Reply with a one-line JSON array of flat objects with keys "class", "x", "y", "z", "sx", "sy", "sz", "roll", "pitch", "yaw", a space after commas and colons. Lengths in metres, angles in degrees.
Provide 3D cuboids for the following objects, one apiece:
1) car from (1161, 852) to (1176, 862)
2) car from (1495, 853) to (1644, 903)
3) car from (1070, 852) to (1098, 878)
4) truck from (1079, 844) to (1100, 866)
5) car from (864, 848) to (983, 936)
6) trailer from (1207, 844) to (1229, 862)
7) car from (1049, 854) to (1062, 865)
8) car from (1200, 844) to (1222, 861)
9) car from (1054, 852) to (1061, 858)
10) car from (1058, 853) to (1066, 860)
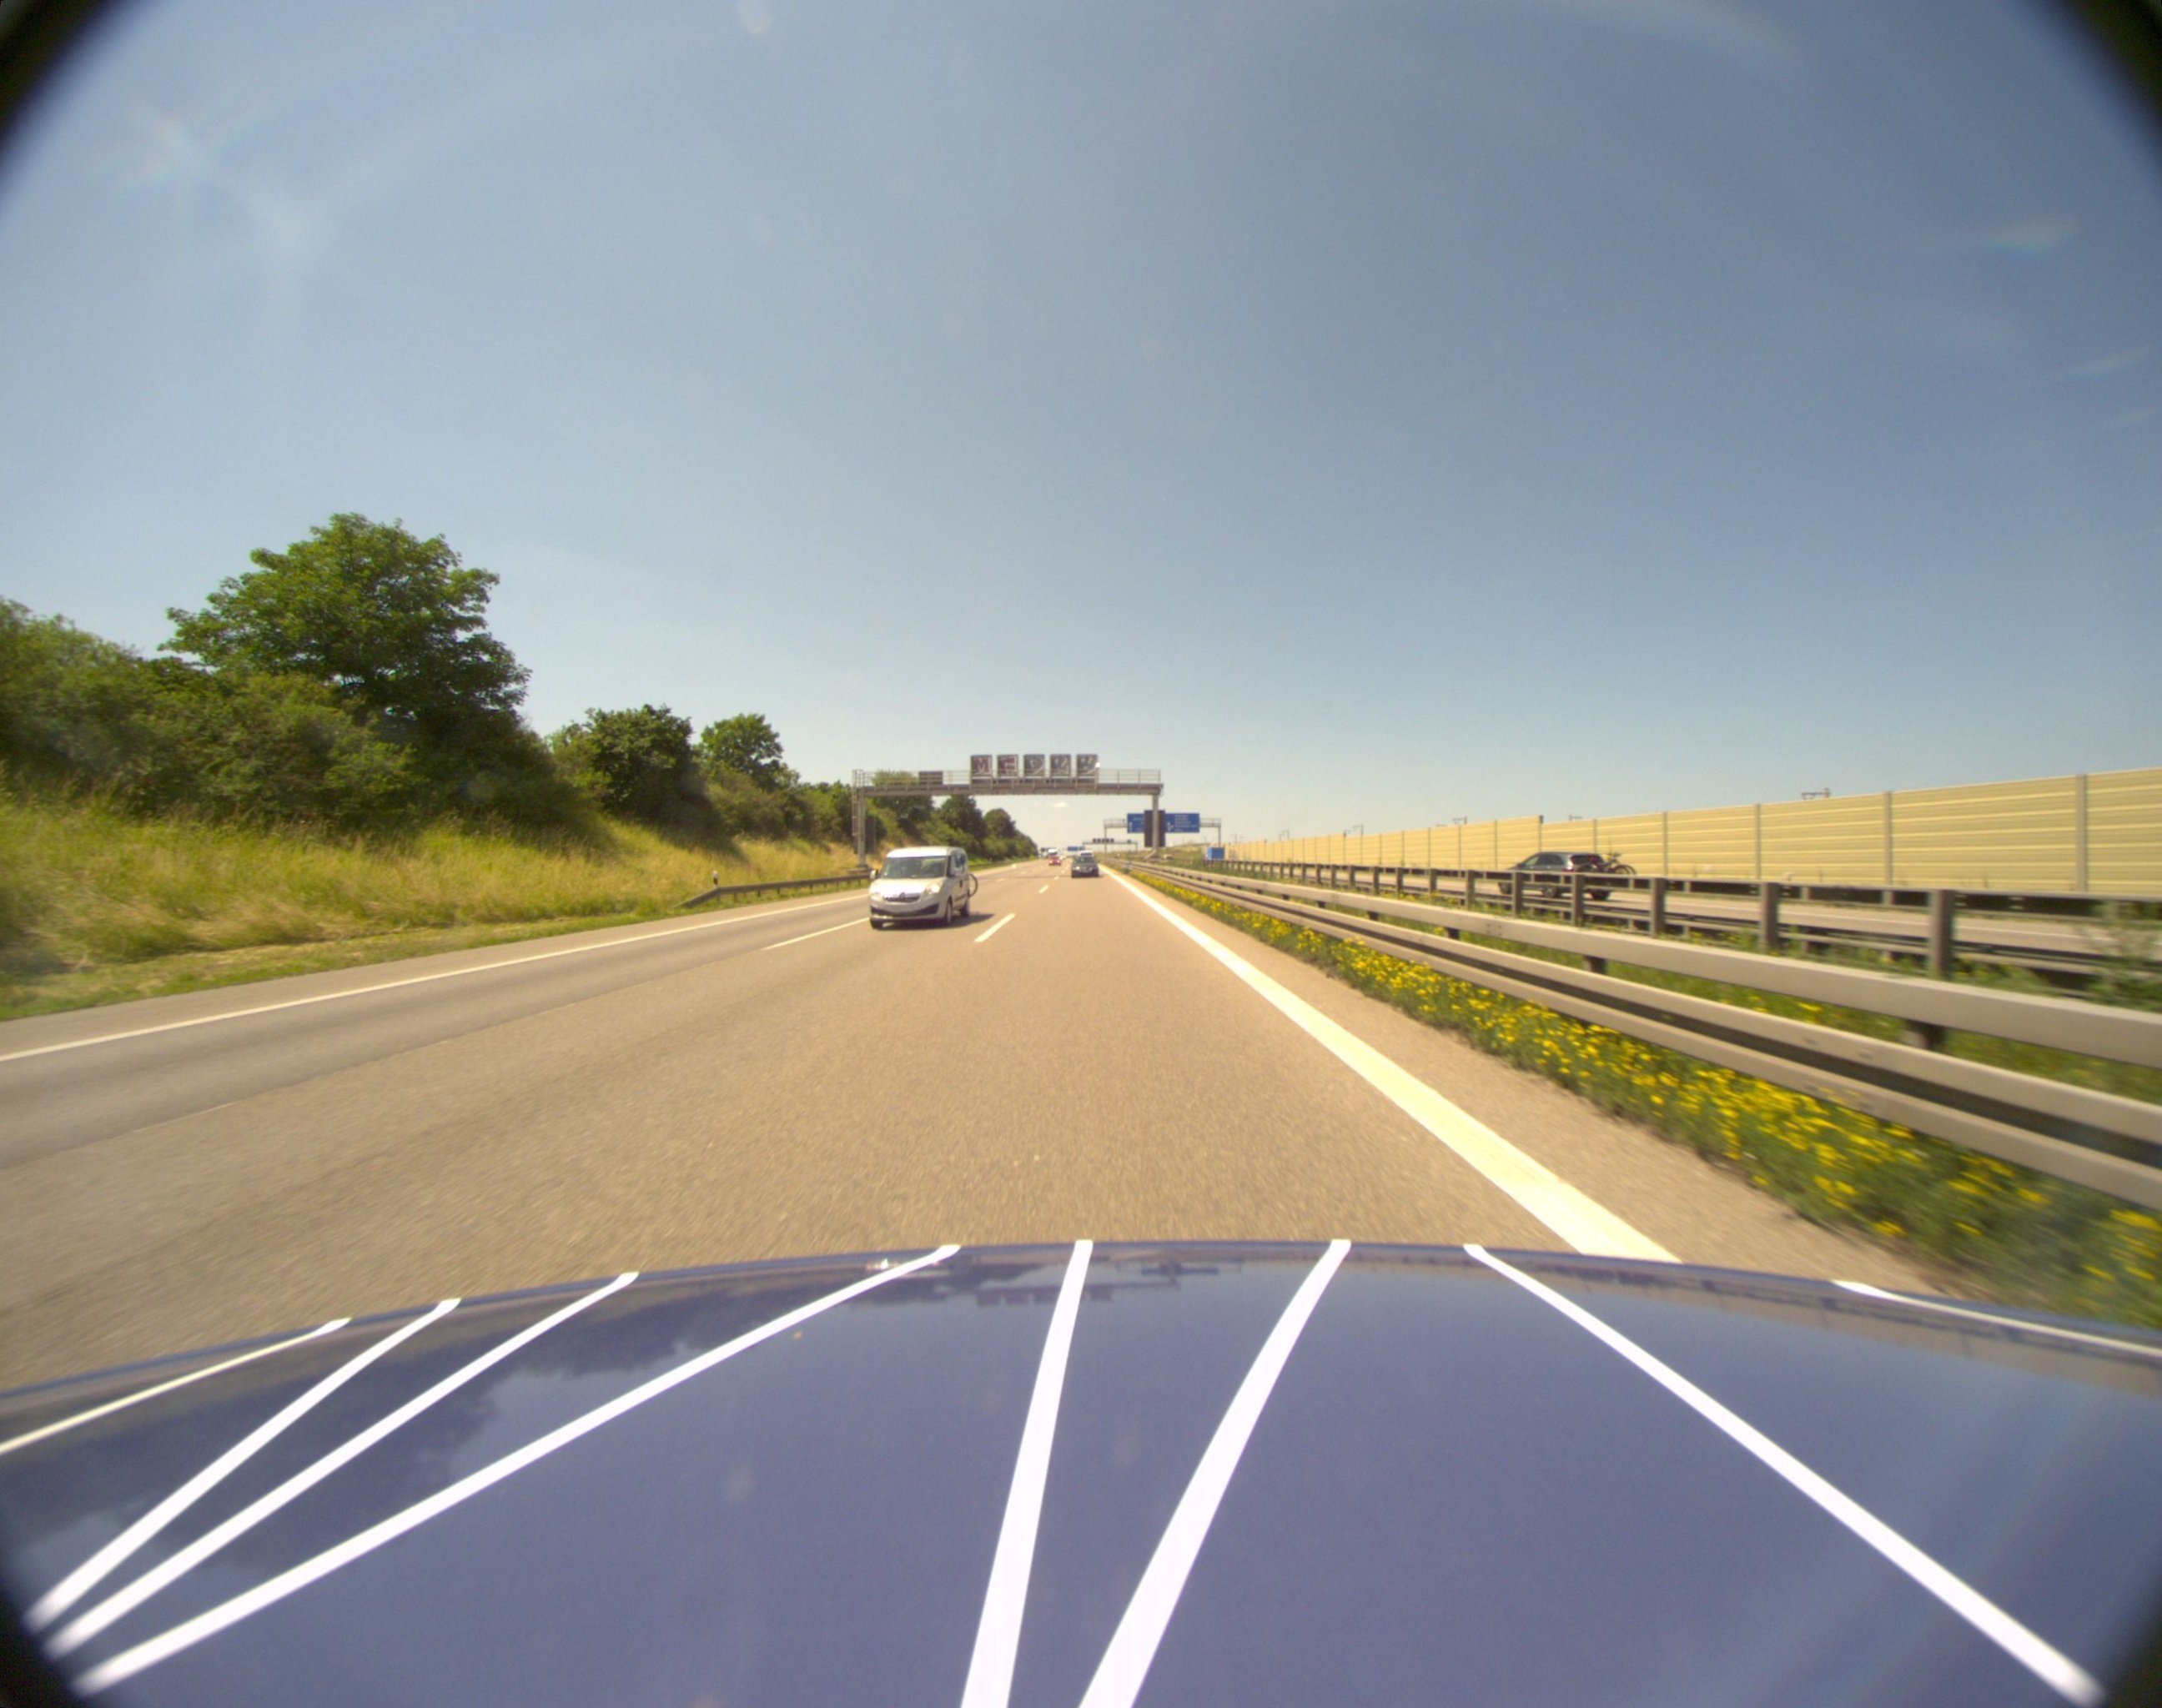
[{"class": "car", "x": 14.652, "y": 0.500, "z": 127.855, "sx": 1.898, "sy": 1.422, "sz": 4.723, "roll": 2, "pitch": 1, "yaw": -1}, {"class": "car", "x": 17.097, "y": 0.765, "z": 27.002, "sx": 1.901, "sy": 1.561, "sz": 5.247, "roll": 1, "pitch": 0, "yaw": 0}, {"class": "car", "x": 0.204, "y": 0.692, "z": 50.766, "sx": 1.715, "sy": 1.586, "sz": 4.547, "roll": -3, "pitch": 0, "yaw": 0}, {"class": "truck", "x": 1.017, "y": 0.086, "z": 90.315, "sx": 2.333, "sy": 2.378, "sz": 6.686, "roll": -2, "pitch": 1, "yaw": 0}, {"class": "car", "x": -3.695, "y": 0.802, "z": 18.834, "sx": 1.812, "sy": 1.836, "sz": 5.312, "roll": -1, "pitch": 0, "yaw": 0}, {"class": "trailer", "x": 18.218, "y": -0.183, "z": 101.275, "sx": 1.999, "sy": 2.225, "sz": 4.204, "roll": -2, "pitch": 1, "yaw": -1}, {"class": "car", "x": -3.677, "y": 0.784, "z": 109.840, "sx": 1.723, "sy": 1.514, "sz": 3.581, "roll": -2, "pitch": 1, "yaw": 0}, {"class": "car", "x": 18.099, "y": -0.200, "z": 105.926, "sx": 1.999, "sy": 2.212, "sz": 5.097, "roll": -2, "pitch": 0, "yaw": -1}, {"class": "car", "x": -8.099, "y": 0.367, "z": 260.105, "sx": 1.998, "sy": 2.002, "sz": 3.999, "roll": -2, "pitch": 1, "yaw": 0}, {"class": "car", "x": -4.289, "y": 0.635, "z": 171.040, "sx": 1.723, "sy": 1.514, "sz": 3.581, "roll": -2, "pitch": 1, "yaw": 0}]
